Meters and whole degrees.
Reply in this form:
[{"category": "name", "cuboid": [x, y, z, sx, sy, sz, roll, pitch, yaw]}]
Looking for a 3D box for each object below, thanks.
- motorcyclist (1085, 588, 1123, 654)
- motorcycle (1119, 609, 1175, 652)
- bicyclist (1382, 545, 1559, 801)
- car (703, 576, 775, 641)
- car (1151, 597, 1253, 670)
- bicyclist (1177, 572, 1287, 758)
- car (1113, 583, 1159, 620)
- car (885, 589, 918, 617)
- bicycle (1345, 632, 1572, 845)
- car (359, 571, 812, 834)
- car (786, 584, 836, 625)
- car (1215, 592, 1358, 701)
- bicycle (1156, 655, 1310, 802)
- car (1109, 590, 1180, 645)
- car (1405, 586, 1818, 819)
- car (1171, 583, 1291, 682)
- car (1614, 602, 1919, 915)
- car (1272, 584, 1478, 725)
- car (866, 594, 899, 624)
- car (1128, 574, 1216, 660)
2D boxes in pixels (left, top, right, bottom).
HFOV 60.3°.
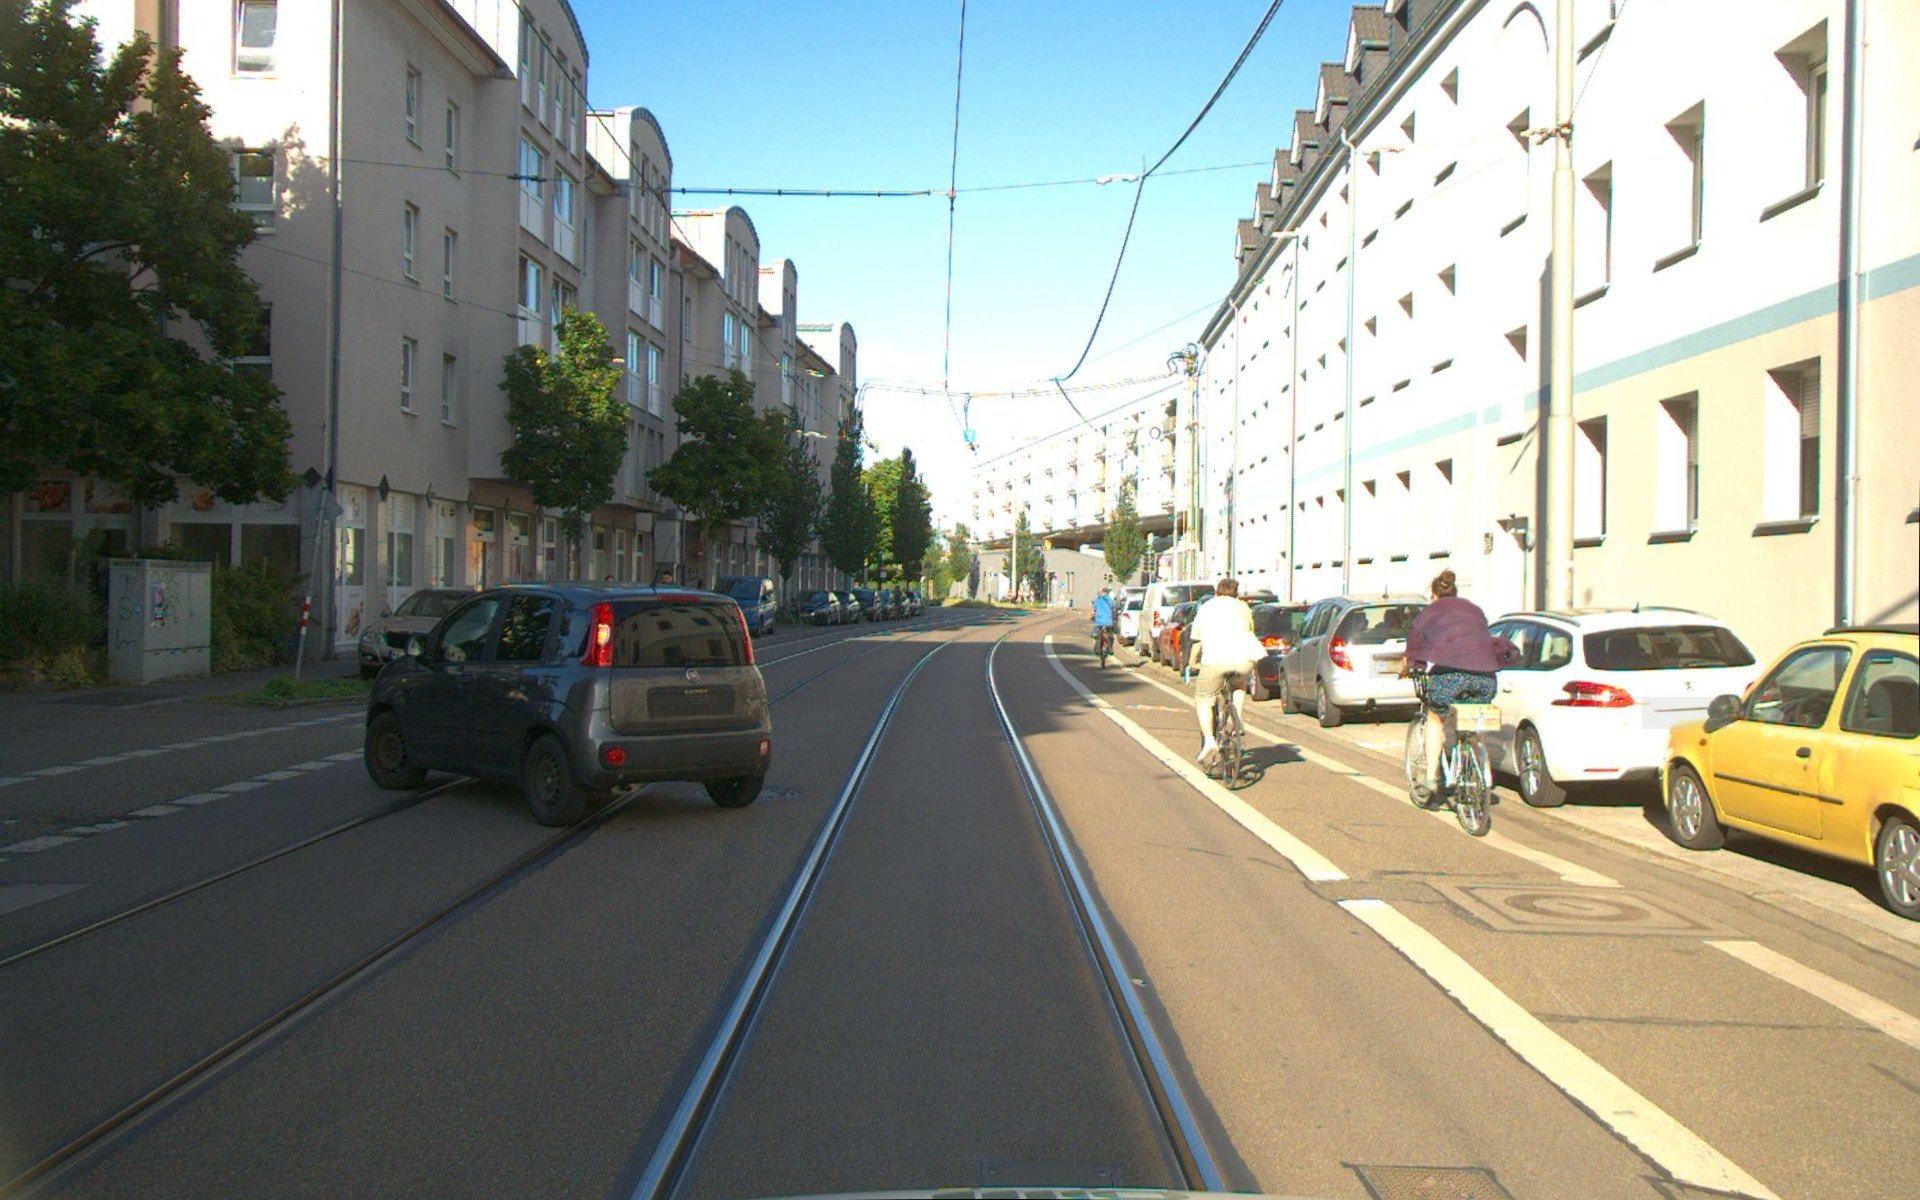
[{"category": "motorcyclist", "cuboid": [3.179, 0.447, 36.599, 0.713, 1.430, 1.020, 1, 0, -1]}, {"category": "motorcycle", "cuboid": [5.331, 0.859, 47.200, 0.487, 1.164, 1.746, 1, 0, -39]}, {"category": "bicyclist", "cuboid": [3.543, 0.485, 11.562, 0.915, 1.705, 0.969, 1, 0, -1]}, {"category": "car", "cuboid": [-7.221, 0.243, 54.426, 1.630, 2.021, 4.344, 1, 0, 2]}, {"category": "car", "cuboid": [5.337, 0.707, 36.926, 1.759, 1.509, 3.779, 1, 0, 1]}, {"category": "bicyclist", "cuboid": [2.246, 0.516, 13.754, 0.713, 1.487, 1.020, 1, 0, -1]}, {"category": "car", "cuboid": [8.636, 0.061, 81.347, 1.806, 1.786, 4.549, 0, 0, 1]}, {"category": "car", "cuboid": [-3.534, 0.181, 100.278, 1.806, 1.674, 3.698, 0, 0, 1]}, {"category": "bicycle", "cuboid": [3.468, 0.909, 11.784, 0.804, 1.258, 2.462, 2, 0, -1]}, {"category": "car", "cuboid": [-2.724, 0.613, 11.606, 1.549, 1.560, 3.431, 3, -1, -43]}, {"category": "car", "cuboid": [-6.292, 0.170, 70.351, 1.630, 1.646, 4.001, 1, 0, 2]}, {"category": "car", "cuboid": [5.184, 0.687, 26.698, 1.559, 1.564, 4.008, -2, 0, 1]}, {"category": "bicycle", "cuboid": [2.212, 1.007, 13.794, 0.723, 0.941, 2.836, 3, 0, -1]}, {"category": "car", "cuboid": [5.878, 0.531, 53.188, 1.806, 1.674, 4.549, 0, 0, 1]}, {"category": "car", "cuboid": [5.170, 0.700, 13.830, 1.645, 1.598, 4.509, -1, 0, 0]}, {"category": "car", "cuboid": [5.149, 0.569, 31.875, 1.626, 1.699, 3.904, -3, 0, 1]}, {"category": "car", "cuboid": [5.337, 0.768, 9.459, 1.483, 1.455, 4.201, -1, 0, -1]}, {"category": "car", "cuboid": [5.301, 0.632, 21.601, 1.718, 1.598, 3.904, -3, 0, 1]}, {"category": "car", "cuboid": [-4.172, 0.477, 89.074, 1.559, 1.567, 3.191, 0, 0, 1]}, {"category": "car", "cuboid": [5.281, 0.391, 41.640, 1.750, 2.005, 4.155, -1, 0, 1]}]
